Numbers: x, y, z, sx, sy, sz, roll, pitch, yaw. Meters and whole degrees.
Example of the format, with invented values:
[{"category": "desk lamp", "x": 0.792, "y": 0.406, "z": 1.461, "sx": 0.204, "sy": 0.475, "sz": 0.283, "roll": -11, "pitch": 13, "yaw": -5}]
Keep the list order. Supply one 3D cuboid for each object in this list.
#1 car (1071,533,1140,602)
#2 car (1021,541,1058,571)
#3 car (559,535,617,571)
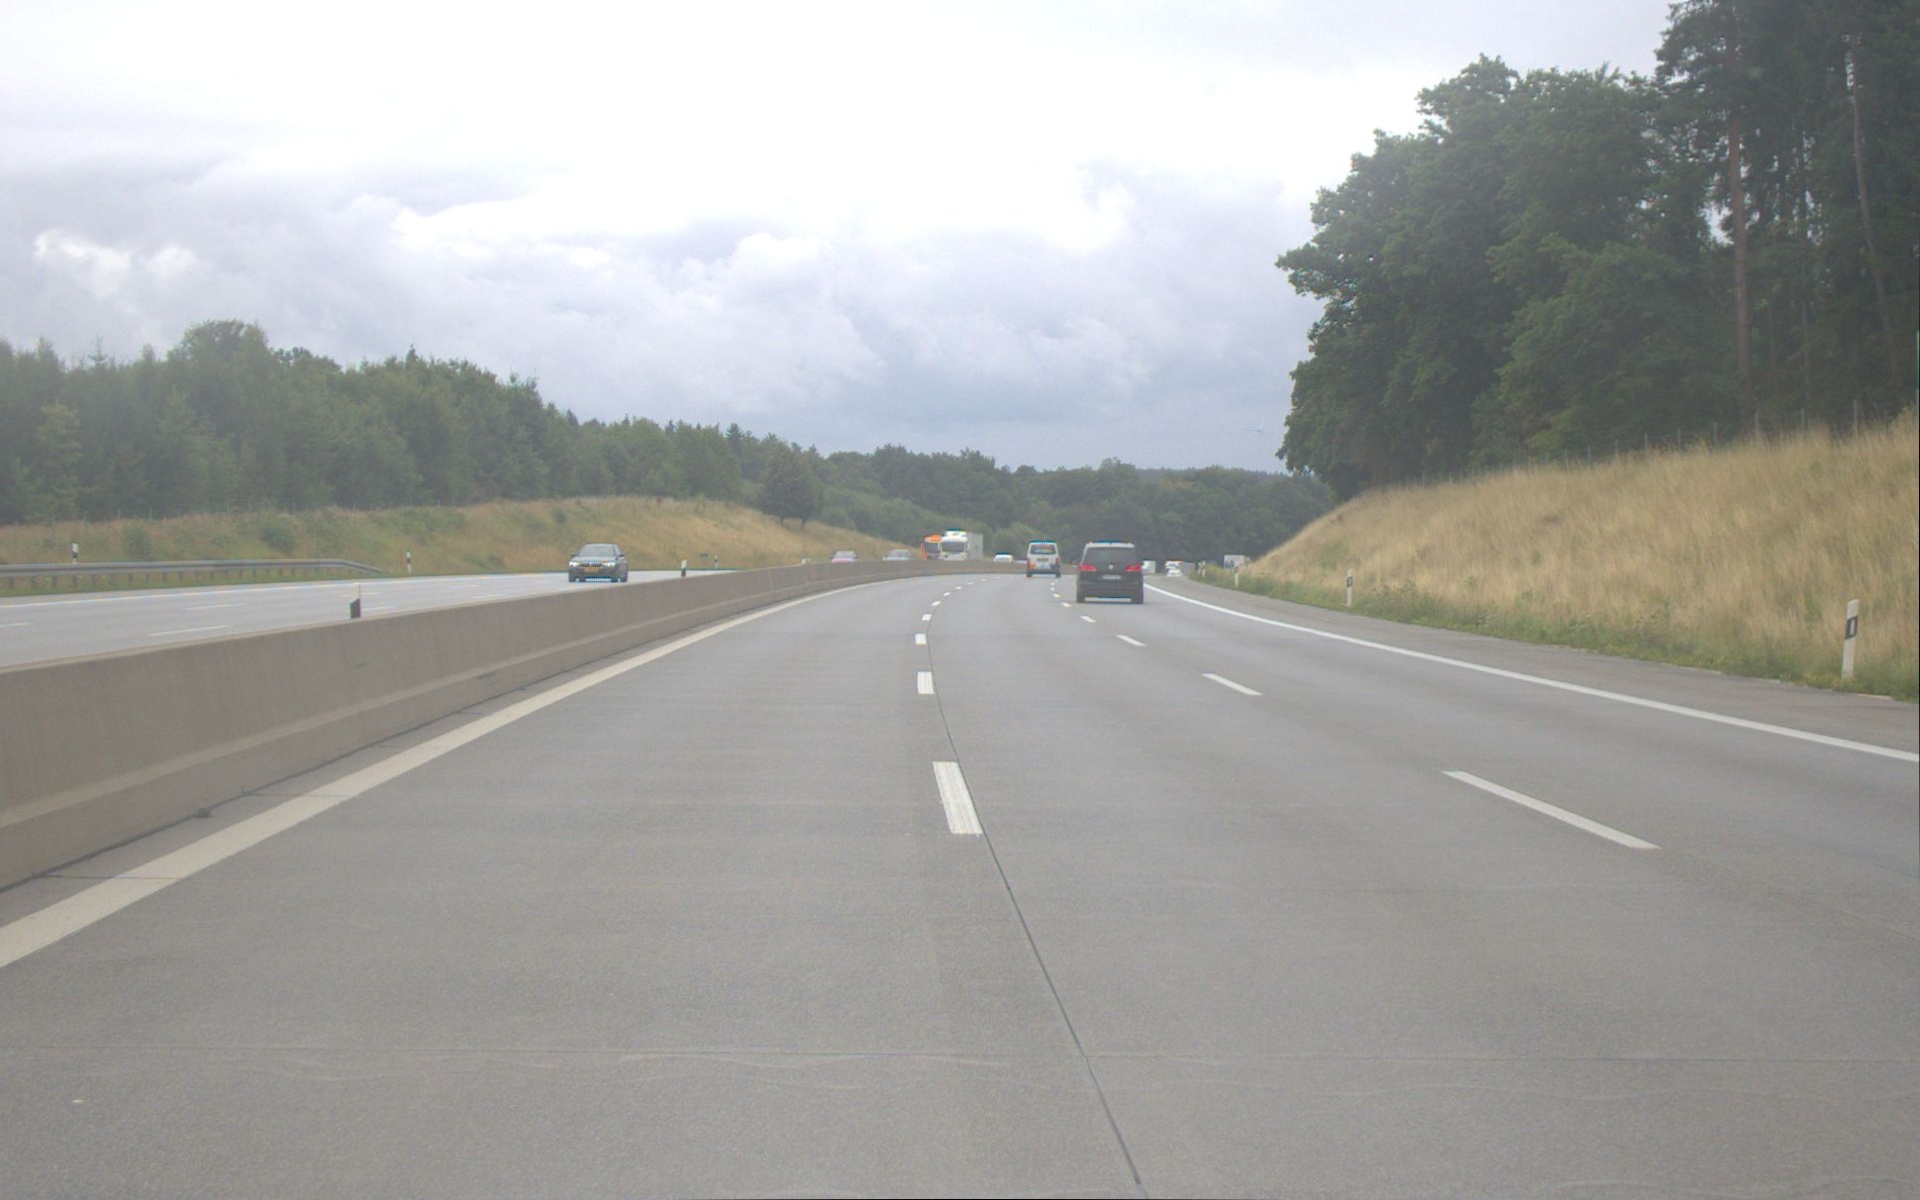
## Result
[{"category": "car", "x": 4.054, "y": -0.925, "z": 96.410, "sx": 1.785, "sy": 1.741, "sz": 3.915, "roll": -2, "pitch": 2, "yaw": 1}, {"category": "car", "x": 4.429, "y": -2.462, "z": 192.083, "sx": 1.841, "sy": 1.495, "sz": 4.001, "roll": -2, "pitch": 2, "yaw": -1}, {"category": "car", "x": -13.988, "y": -1.789, "z": 129.383, "sx": 1.767, "sy": 1.228, "sz": 3.955, "roll": 2, "pitch": 2, "yaw": -1}]
